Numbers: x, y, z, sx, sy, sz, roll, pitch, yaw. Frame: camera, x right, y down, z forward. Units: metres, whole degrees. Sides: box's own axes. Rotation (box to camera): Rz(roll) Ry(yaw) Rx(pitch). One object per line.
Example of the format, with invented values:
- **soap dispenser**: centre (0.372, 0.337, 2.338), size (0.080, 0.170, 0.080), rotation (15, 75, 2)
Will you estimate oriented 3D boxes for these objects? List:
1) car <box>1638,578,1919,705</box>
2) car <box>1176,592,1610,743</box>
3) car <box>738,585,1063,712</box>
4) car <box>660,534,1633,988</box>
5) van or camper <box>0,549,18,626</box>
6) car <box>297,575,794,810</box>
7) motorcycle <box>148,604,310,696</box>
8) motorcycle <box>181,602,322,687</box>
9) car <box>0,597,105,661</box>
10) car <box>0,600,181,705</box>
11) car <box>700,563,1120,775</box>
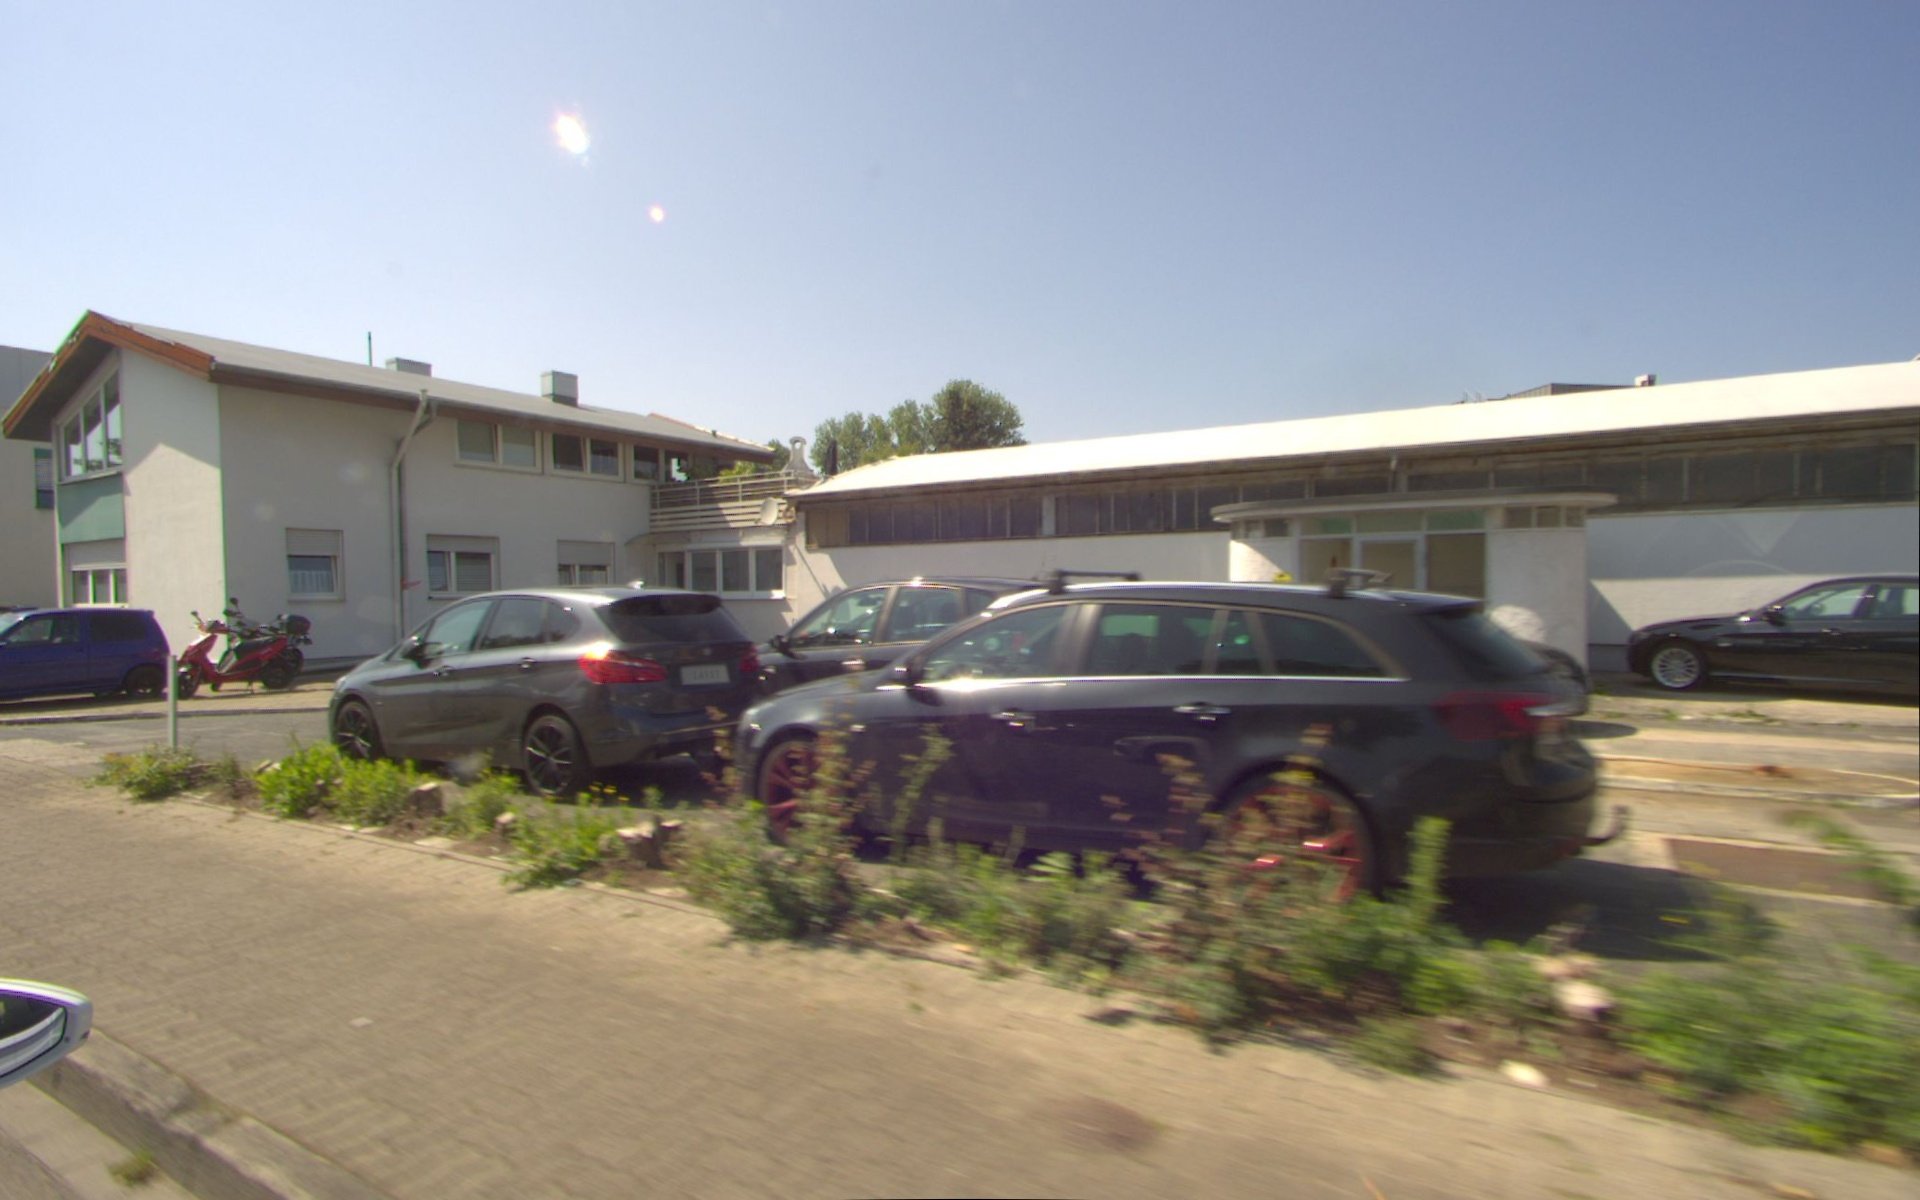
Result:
- **car**: centre (10.501, 0.429, 11.542), size (1.694, 1.342, 4.156), rotation (-1, 0, -37)
- **car**: centre (4.527, 0.608, 10.712), size (4.045, 1.342, 1.637), rotation (0, 1, 35)
- **car**: centre (-0.800, 0.612, 13.724), size (4.078, 1.516, 1.760), rotation (-1, 2, 21)
- **car**: centre (0.745, 0.569, 5.572), size (4.879, 1.589, 1.854), rotation (0, 1, 32)
- **van or camper**: centre (-43.386, -0.515, 42.341), size (1.969, 3.332, 4.750), rotation (0, 1, 29)
- **car**: centre (-3.643, 0.622, 8.604), size (4.230, 1.579, 1.808), rotation (0, 1, 32)
- **motorcycle**: centre (-11.474, 0.747, 15.786), size (0.784, 1.297, 1.866), rotation (0, 2, 29)
- **motorcycle**: centre (-11.933, 0.723, 16.922), size (0.783, 1.297, 1.749), rotation (0, 2, 23)
- **car**: centre (-24.637, 0.719, 26.402), size (1.747, 1.560, 3.695), rotation (-1, 1, -16)
- **car**: centre (-13.673, 0.731, 14.626), size (1.649, 1.417, 3.245), rotation (0, 1, 32)
- **car**: centre (-0.517, 0.569, 9.370), size (3.568, 1.615, 1.756), rotation (0, -2, 34)
